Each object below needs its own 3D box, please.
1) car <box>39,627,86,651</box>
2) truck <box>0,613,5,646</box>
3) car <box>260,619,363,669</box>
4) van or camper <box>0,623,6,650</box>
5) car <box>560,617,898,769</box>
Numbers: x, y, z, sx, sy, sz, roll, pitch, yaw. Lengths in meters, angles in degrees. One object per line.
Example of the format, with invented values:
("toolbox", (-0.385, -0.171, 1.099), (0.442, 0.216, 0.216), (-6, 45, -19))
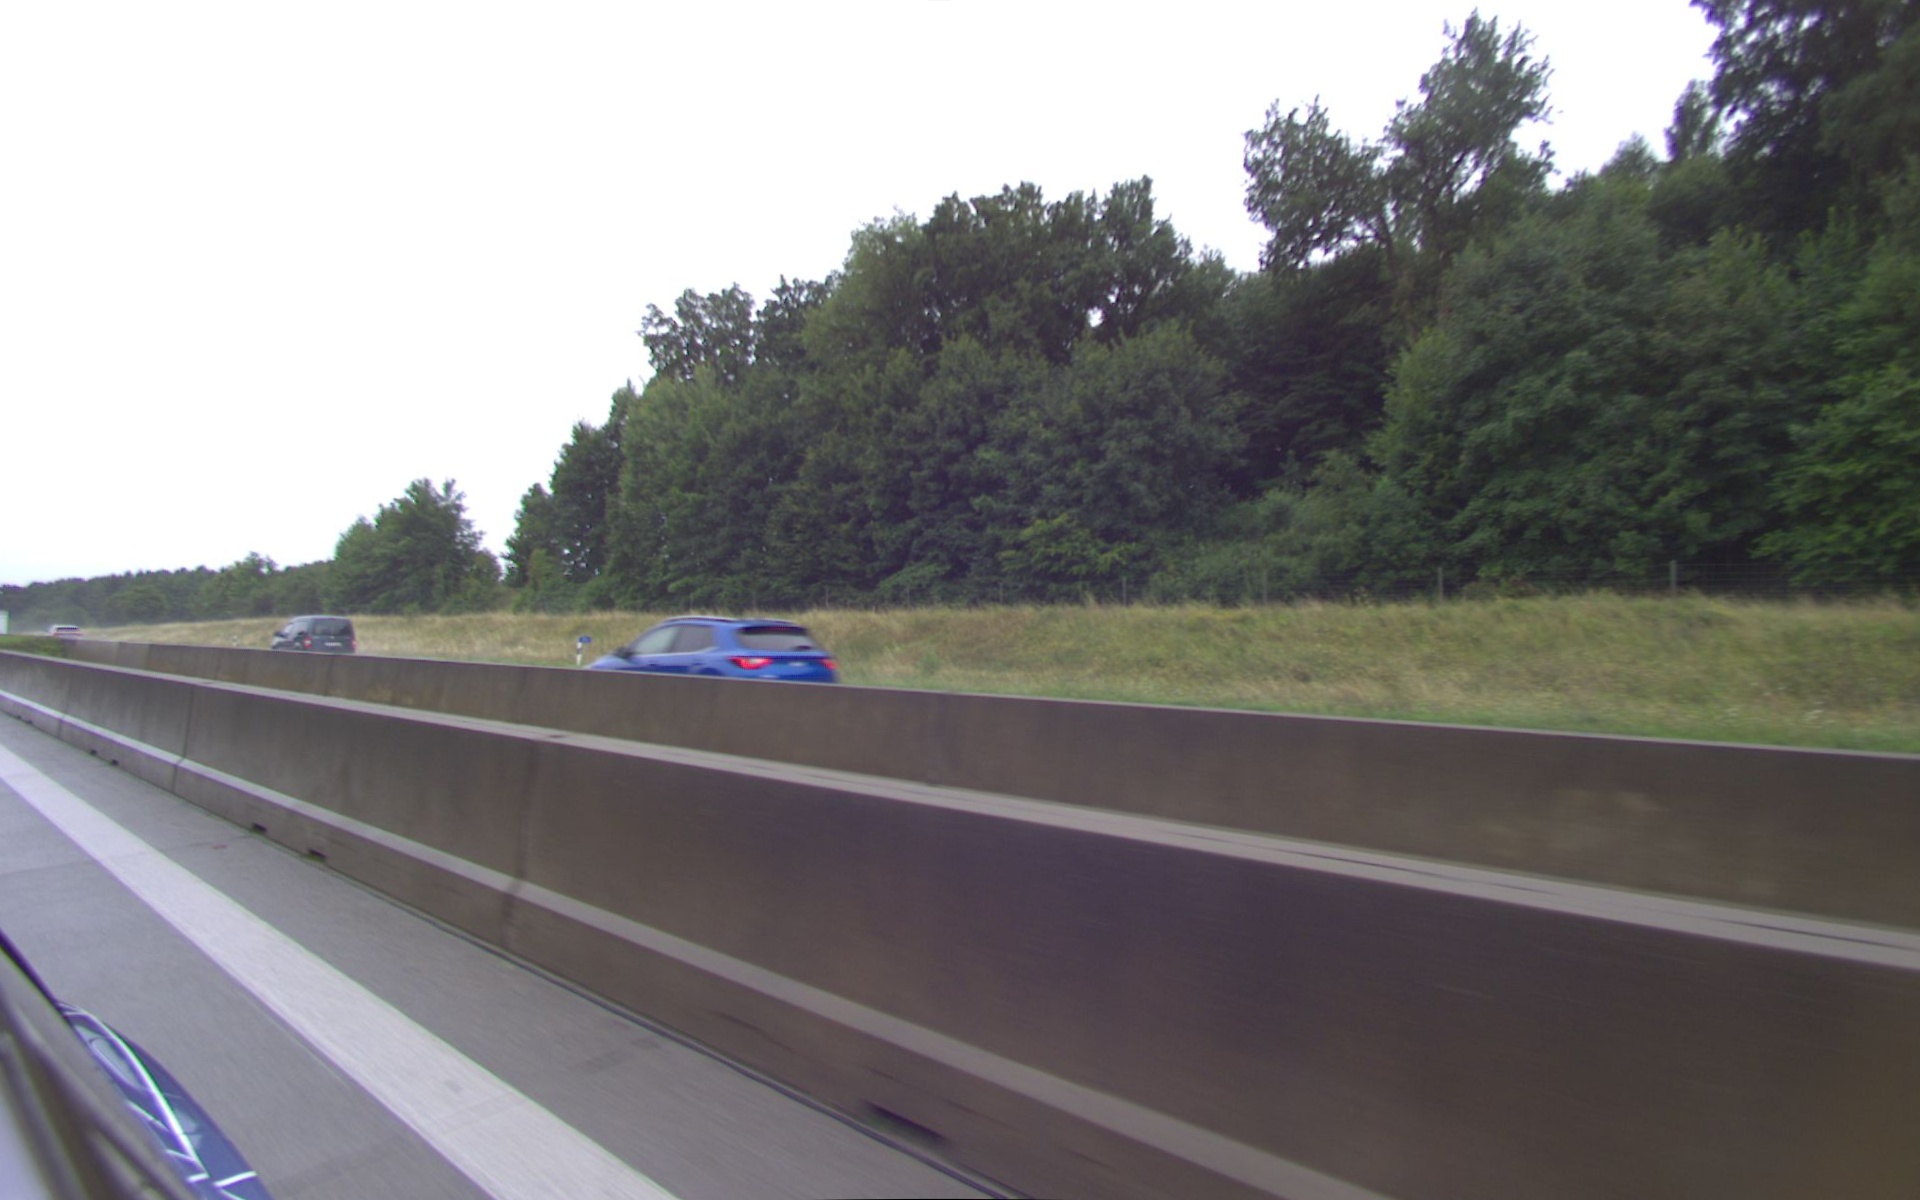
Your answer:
("car", (-63.267, 2.748, 71.301), (4.685, 1.678, 1.860), (-1, -3, 41))
("truck", (-127.877, 3.855, 132.795), (8.585, 4.172, 2.558), (-2, -4, 40))
("car", (-23.481, 1.562, 36.577), (4.685, 1.678, 1.860), (-1, -3, 41))
("van or camper", (-101.742, 3.751, 105.622), (7.710, 2.756, 2.387), (-1, -3, 41))
("car", (-3.067, 1.036, 12.822), (4.685, 1.587, 1.754), (-1, -2, 41))
